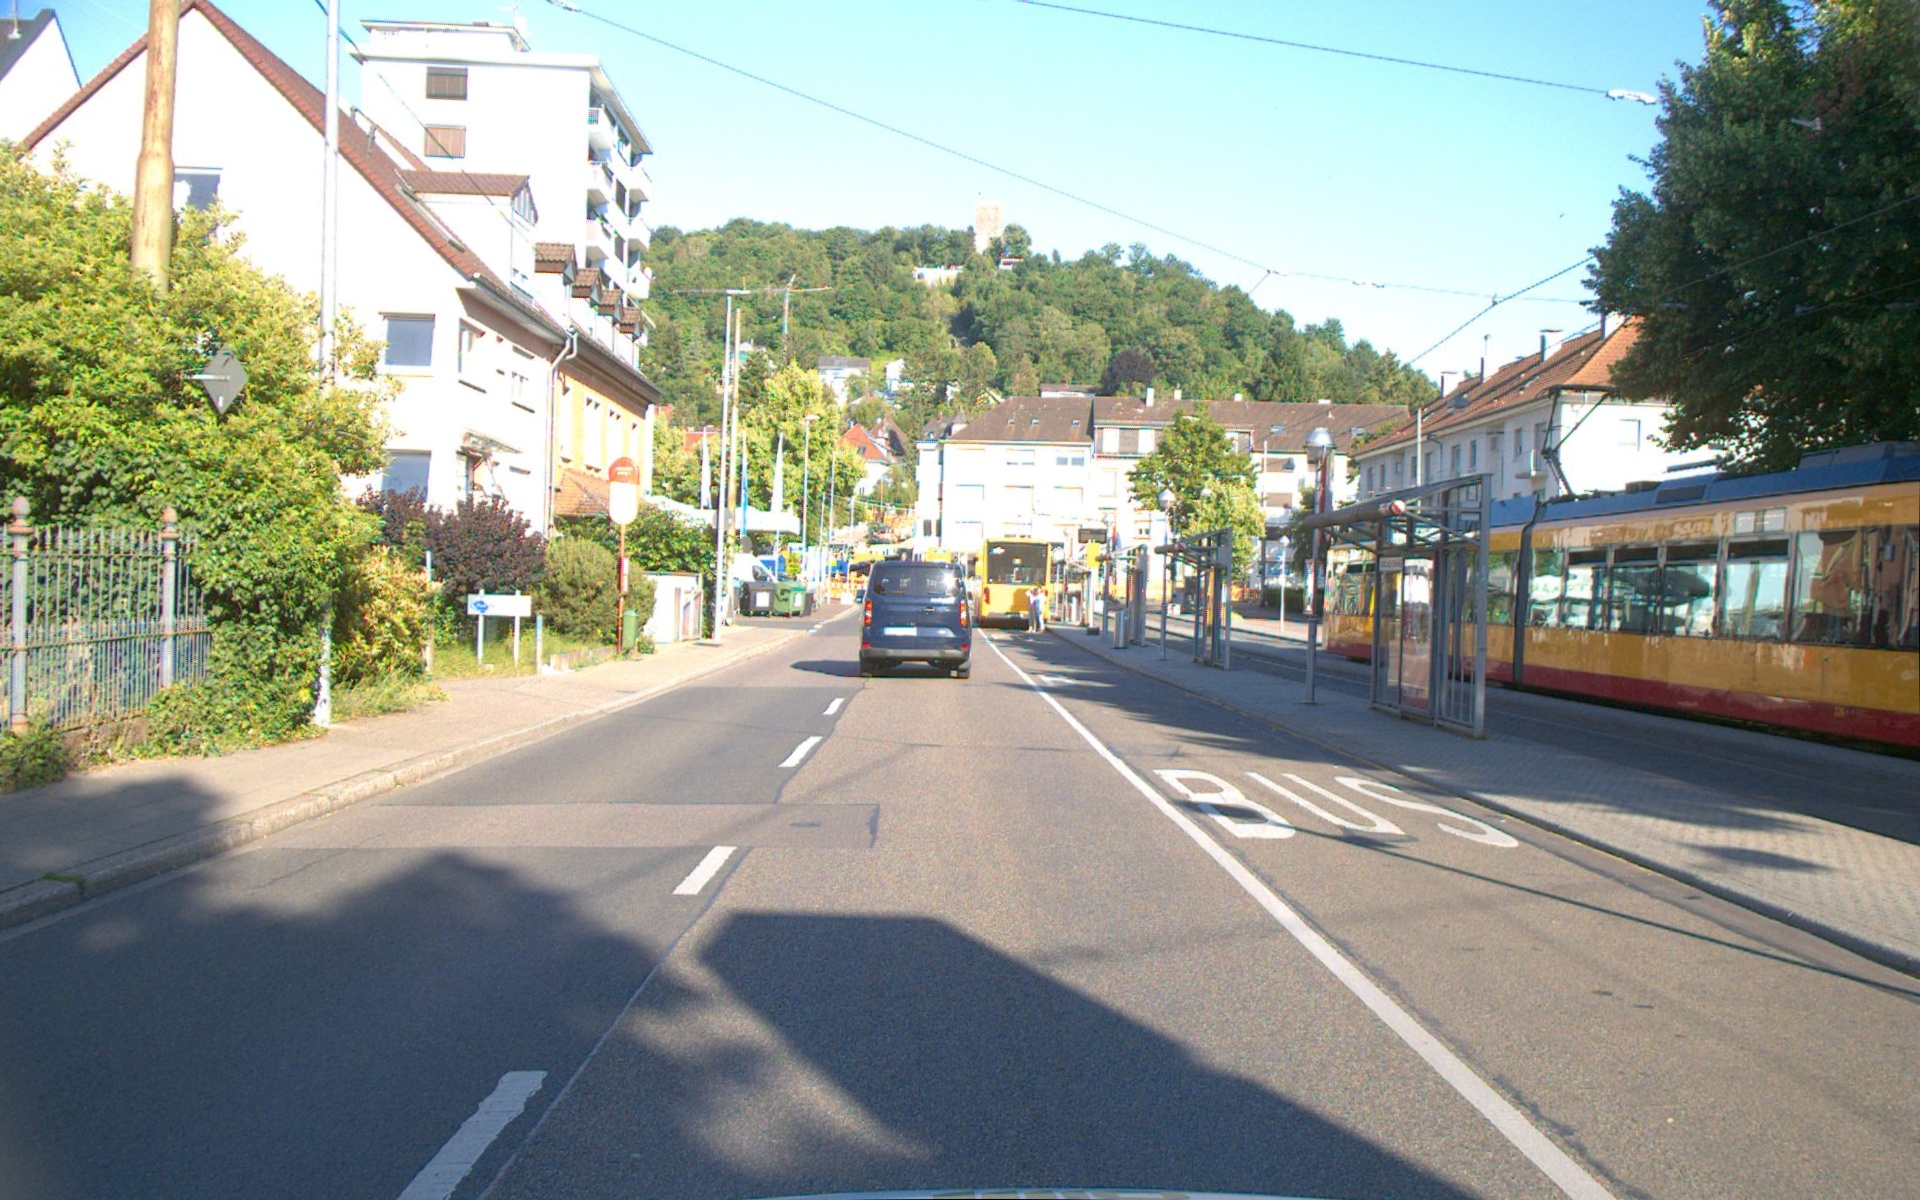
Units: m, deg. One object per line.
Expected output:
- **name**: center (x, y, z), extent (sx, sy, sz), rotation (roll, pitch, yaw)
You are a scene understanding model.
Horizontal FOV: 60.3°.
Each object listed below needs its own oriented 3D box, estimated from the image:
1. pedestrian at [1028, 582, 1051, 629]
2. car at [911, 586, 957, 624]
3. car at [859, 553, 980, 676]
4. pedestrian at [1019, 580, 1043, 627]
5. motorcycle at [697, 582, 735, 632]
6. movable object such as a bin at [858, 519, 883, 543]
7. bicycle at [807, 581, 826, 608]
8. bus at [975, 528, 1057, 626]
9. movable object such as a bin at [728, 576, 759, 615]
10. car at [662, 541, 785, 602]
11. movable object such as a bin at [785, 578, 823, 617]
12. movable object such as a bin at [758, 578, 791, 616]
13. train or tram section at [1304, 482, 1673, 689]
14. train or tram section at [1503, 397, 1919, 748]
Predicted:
- **pedestrian**: center (2.798, 0.203, 58.244), extent (0.540, 1.641, 0.542), rotation (1, 1, -38)
- **car**: center (-1.085, 0.188, 67.919), extent (1.758, 1.434, 3.999), rotation (2, 1, -2)
- **car**: center (-0.717, 0.223, 30.243), extent (2.020, 2.049, 4.999), rotation (0, 1, -1)
- **pedestrian**: center (2.523, 0.113, 58.607), extent (0.540, 1.641, 0.627), rotation (1, 1, -38)
- **motorcycle**: center (-6.711, 0.185, 45.605), extent (0.822, 1.304, 2.231), rotation (2, 0, -4)
- **movable object such as a bin**: center (-10.902, -8.441, 201.792), extent (2.144, 2.737, 4.004), rotation (1, 1, 10)
- **bicycle**: center (-6.647, -0.260, 76.416), extent (0.710, 1.198, 1.777), rotation (1, 1, -10)
- **bus**: center (2.075, -0.960, 65.731), extent (2.634, 3.475, 12.018), rotation (1, 1, -1)
- **movable object such as a bin**: center (-8.944, -0.192, 68.412), extent (1.194, 1.508, 0.704), rotation (1, 4, -6)
- **car**: center (-10.509, -1.249, 73.430), extent (4.986, 2.512, 2.094), rotation (2, 1, -23)
- **movable object such as a bin**: center (-6.564, -0.115, 69.835), extent (1.034, 1.508, 1.311), rotation (3, 4, 27)
- **movable object such as a bin**: center (-7.730, -0.131, 68.907), extent (1.205, 1.508, 0.697), rotation (-1, 4, -30)
- **train or tram section**: center (10.952, -0.242, 37.051), extent (2.897, 3.596, 15.966), rotation (1, 0, -1)
- **train or tram section**: center (11.183, -0.256, 22.595), extent (2.897, 3.596, 13.461), rotation (1, 0, -1)
